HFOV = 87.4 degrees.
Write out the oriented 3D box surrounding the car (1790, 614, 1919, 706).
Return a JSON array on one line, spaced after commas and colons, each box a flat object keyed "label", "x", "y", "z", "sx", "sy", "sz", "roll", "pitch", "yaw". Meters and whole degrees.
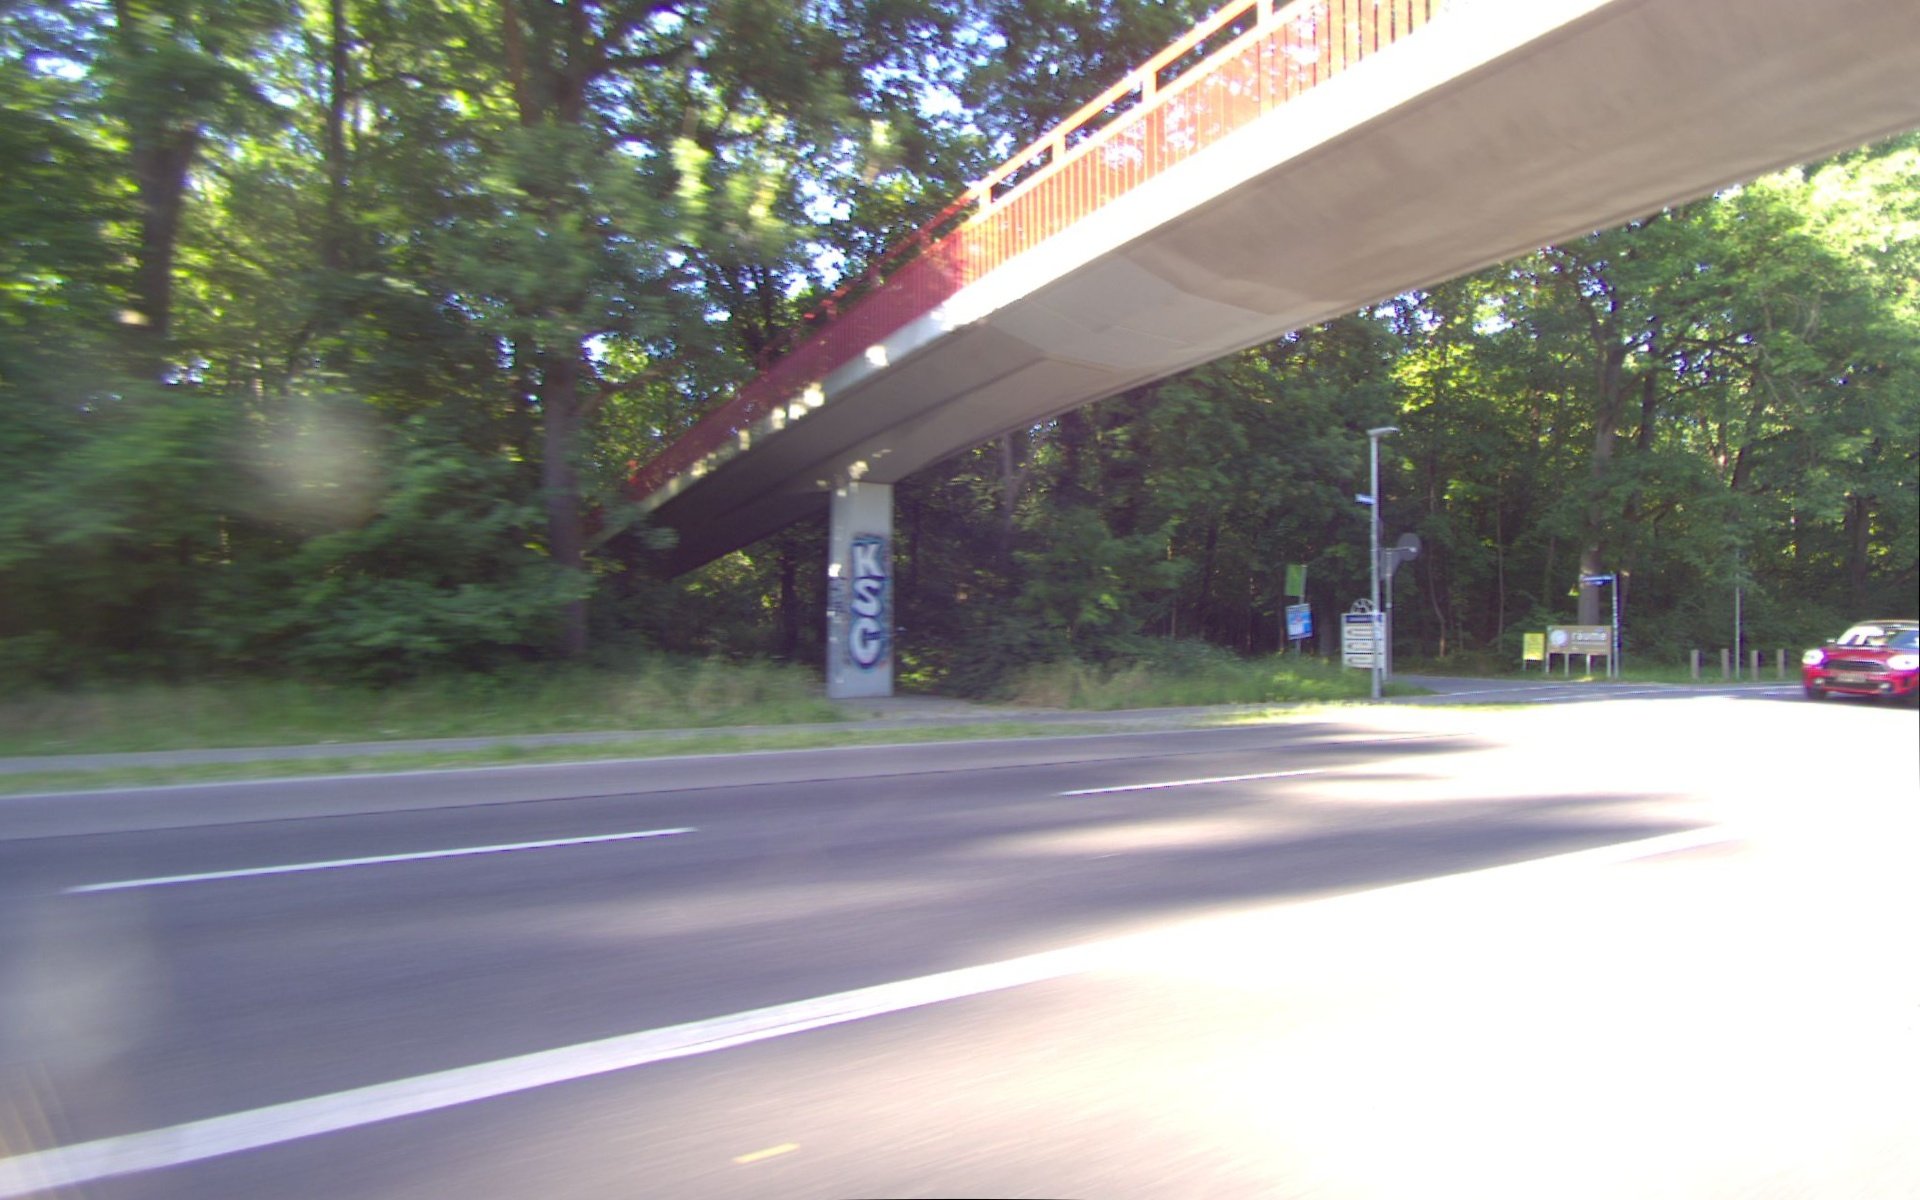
[{"label": "car", "x": 18.254, "y": 1.113, "z": 19.631, "sx": 4.117, "sy": 1.604, "sz": 1.754, "roll": 1, "pitch": 0, "yaw": -29}]
